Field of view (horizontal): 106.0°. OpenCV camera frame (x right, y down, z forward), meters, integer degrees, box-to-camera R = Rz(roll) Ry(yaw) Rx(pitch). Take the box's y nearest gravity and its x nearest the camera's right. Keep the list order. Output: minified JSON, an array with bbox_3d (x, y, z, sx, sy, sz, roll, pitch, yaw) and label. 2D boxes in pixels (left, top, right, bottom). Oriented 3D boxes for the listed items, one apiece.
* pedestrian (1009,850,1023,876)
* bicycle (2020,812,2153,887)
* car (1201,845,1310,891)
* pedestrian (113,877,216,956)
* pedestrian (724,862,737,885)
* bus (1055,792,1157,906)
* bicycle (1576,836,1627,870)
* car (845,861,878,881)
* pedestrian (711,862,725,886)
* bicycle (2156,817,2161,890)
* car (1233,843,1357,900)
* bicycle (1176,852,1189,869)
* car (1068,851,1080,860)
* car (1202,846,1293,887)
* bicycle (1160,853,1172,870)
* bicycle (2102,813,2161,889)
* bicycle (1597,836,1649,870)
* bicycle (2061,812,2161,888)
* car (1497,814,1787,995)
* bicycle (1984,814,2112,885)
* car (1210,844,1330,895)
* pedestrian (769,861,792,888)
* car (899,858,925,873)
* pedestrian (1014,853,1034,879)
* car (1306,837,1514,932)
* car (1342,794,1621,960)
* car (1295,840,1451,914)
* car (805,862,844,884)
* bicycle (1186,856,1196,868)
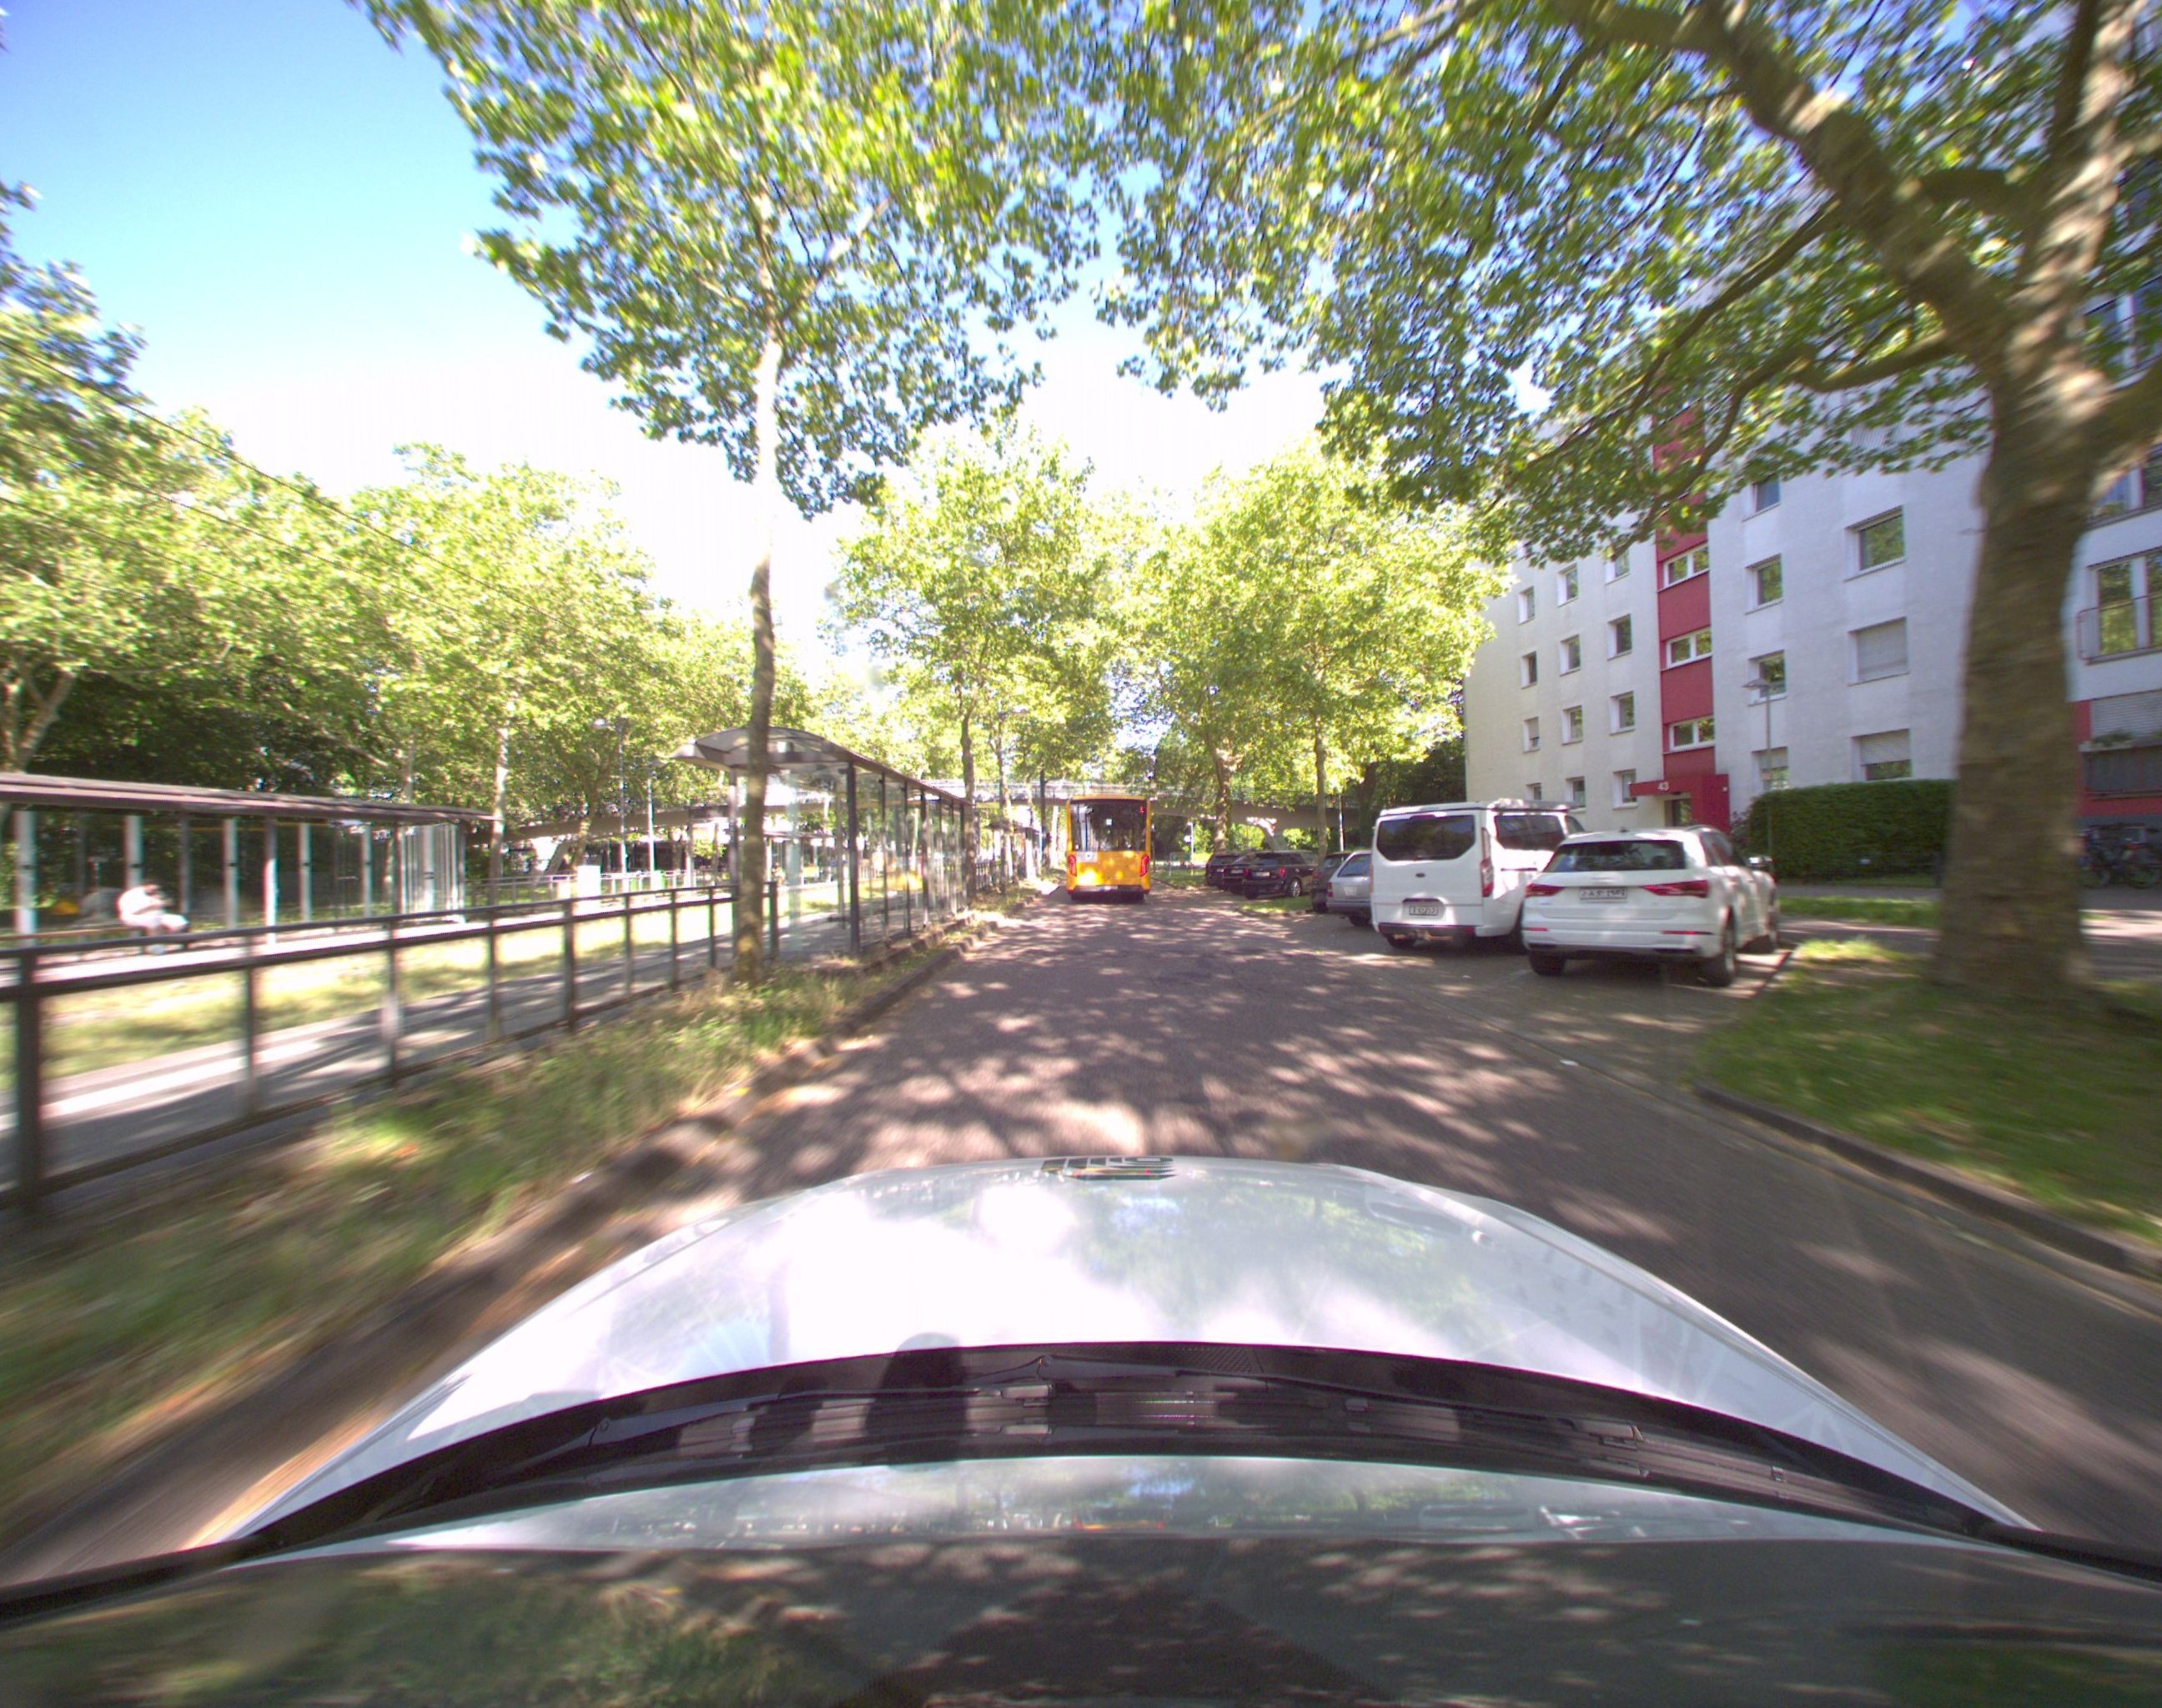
[{"bbox_3d":[-3.619,0.501,45.474,0.722,1.417,0.682,-1,0,0],"label":"pedestrian"},{"bbox_3d":[17.523,-0.080,14.206,1.791,1.129,0.499,-5,0,-5],"label":"bicycle"},{"bbox_3d":[6.796,0.523,31.532,4.279,1.461,1.779,-4,0,-40],"label":"car"},{"bbox_3d":[-14.619,0.981,13.009,0.763,1.183,0.763,-1,0,1],"label":"pedestrian"},{"bbox_3d":[-25.440,1.432,59.092,0.647,1.661,0.649,-2,0,-4],"label":"pedestrian"},{"bbox_3d":[0.729,-0.138,29.899,2.890,3.266,12.215,-1,0,0],"label":"bus"},{"bbox_3d":[17.745,-0.032,27.809,0.588,1.107,1.800,-1,0,1],"label":"bicycle"},{"bbox_3d":[-18.776,1.425,69.562,1.805,1.566,4.248,-2,0,-29],"label":"car"},{"bbox_3d":[-25.887,1.438,58.058,0.647,1.661,0.649,-2,0,-4],"label":"pedestrian"},{"bbox_3d":[17.634,-0.075,12.444,1.791,1.129,0.549,-5,0,-5],"label":"bicycle"},{"bbox_3d":[6.705,0.506,25.343,4.023,1.468,1.761,-4,0,-42],"label":"car"},{"bbox_3d":[7.517,0.477,60.379,0.588,1.182,1.800,-5,1,0],"label":"bicycle"},{"bbox_3d":[-1.339,0.330,155.268,1.979,1.643,4.136,1,1,2],"label":"car"},{"bbox_3d":[7.173,0.499,34.828,4.024,1.461,1.778,-4,0,-44],"label":"car"},{"bbox_3d":[6.345,0.577,60.628,0.588,1.182,1.800,-5,1,0],"label":"bicycle"},{"bbox_3d":[17.617,-0.090,13.115,1.791,1.129,0.499,-5,0,-5],"label":"bicycle"},{"bbox_3d":[18.472,-0.049,27.805,0.588,1.107,1.800,-2,0,1],"label":"bicycle"},{"bbox_3d":[17.570,-0.081,13.635,1.791,1.129,0.499,-5,0,-5],"label":"bicycle"},{"bbox_3d":[6.610,0.427,9.415,4.081,1.580,1.810,-4,0,-42],"label":"car"},{"bbox_3d":[17.480,-0.083,14.738,1.791,1.129,0.499,-5,0,-5],"label":"bicycle"},{"bbox_3d":[6.626,0.526,28.385,4.279,1.461,1.779,-4,0,-40],"label":"car"},{"bbox_3d":[-14.075,0.953,38.166,0.775,1.238,0.722,-1,0,-1],"label":"pedestrian"},{"bbox_3d":[-18.411,1.258,88.852,1.788,1.580,4.289,-2,0,1],"label":"car"},{"bbox_3d":[-2.764,0.561,39.395,0.851,1.243,0.851,0,0,2],"label":"pedestrian"},{"bbox_3d":[6.510,0.525,15.830,4.615,1.423,1.778,-4,0,-41],"label":"car"},{"bbox_3d":[6.204,0.221,12.381,4.614,2.052,1.994,-4,0,-40],"label":"car"},{"bbox_3d":[6.961,0.508,19.236,3.946,1.416,1.778,-4,0,-43],"label":"car"},{"bbox_3d":[-19.833,1.461,63.087,1.790,1.566,4.283,-2,0,-3],"label":"car"},{"bbox_3d":[8.149,0.589,60.385,0.503,0.852,1.473,-5,1,0],"label":"bicycle"}]
